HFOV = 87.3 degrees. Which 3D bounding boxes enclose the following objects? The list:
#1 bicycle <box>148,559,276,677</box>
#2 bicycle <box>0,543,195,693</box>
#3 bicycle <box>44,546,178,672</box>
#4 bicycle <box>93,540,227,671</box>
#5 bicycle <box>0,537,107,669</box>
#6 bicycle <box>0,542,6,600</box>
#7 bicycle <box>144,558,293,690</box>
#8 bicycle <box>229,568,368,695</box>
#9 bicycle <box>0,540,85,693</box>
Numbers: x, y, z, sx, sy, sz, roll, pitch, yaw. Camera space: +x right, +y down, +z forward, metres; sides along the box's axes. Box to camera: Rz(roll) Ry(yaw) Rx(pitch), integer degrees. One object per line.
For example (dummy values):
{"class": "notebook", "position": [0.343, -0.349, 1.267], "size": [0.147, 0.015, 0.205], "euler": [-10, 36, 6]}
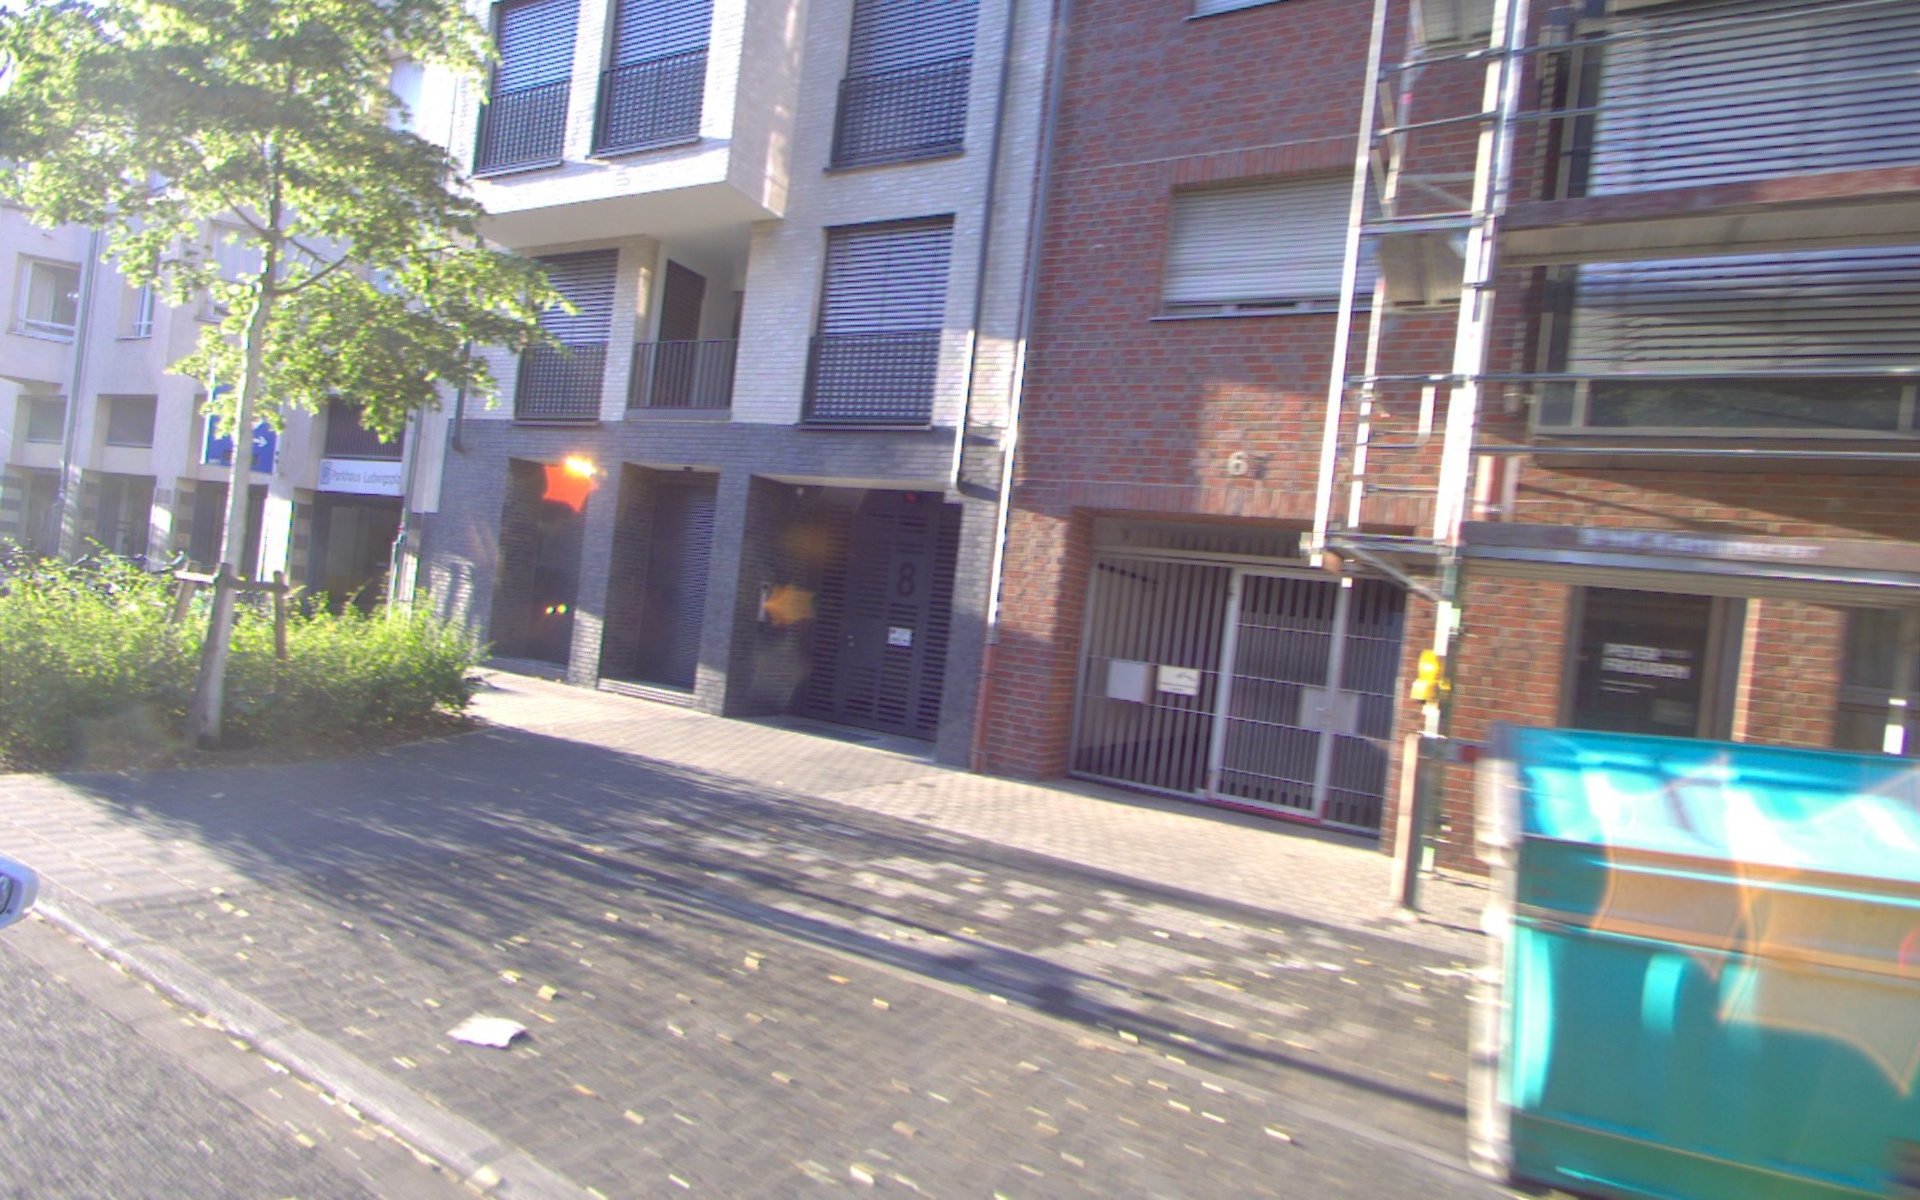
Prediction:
{"class": "bicycle", "position": [-8.123, 0.185, 10.913], "size": [1.496, 1.113, 0.382], "euler": [6, 0, 26]}
{"class": "bicycle", "position": [-7.592, 0.152, 8.822], "size": [1.494, 1.113, 0.383], "euler": [7, 0, 8]}
{"class": "bicycle", "position": [-8.620, 0.083, 10.202], "size": [1.496, 1.113, 0.383], "euler": [6, -1, 26]}
{"class": "bicycle", "position": [-8.426, 0.046, 10.585], "size": [1.496, 1.203, 0.383], "euler": [6, -1, 26]}
{"class": "bicycle", "position": [-8.897, 0.015, 9.766], "size": [1.539, 1.113, 0.382], "euler": [6, 0, 31]}
{"class": "bicycle", "position": [-9.377, -0.026, 9.469], "size": [1.502, 1.121, 0.370], "euler": [6, 0, 42]}
{"class": "bicycle", "position": [-7.314, 0.222, 9.905], "size": [1.495, 1.113, 0.383], "euler": [7, 0, 23]}
{"class": "bicycle", "position": [-6.746, 0.309, 10.237], "size": [1.496, 1.113, 0.382], "euler": [7, 0, 26]}
{"class": "bicycle", "position": [-7.776, 0.099, 8.173], "size": [1.496, 1.113, 0.383], "euler": [7, 0, 27]}
